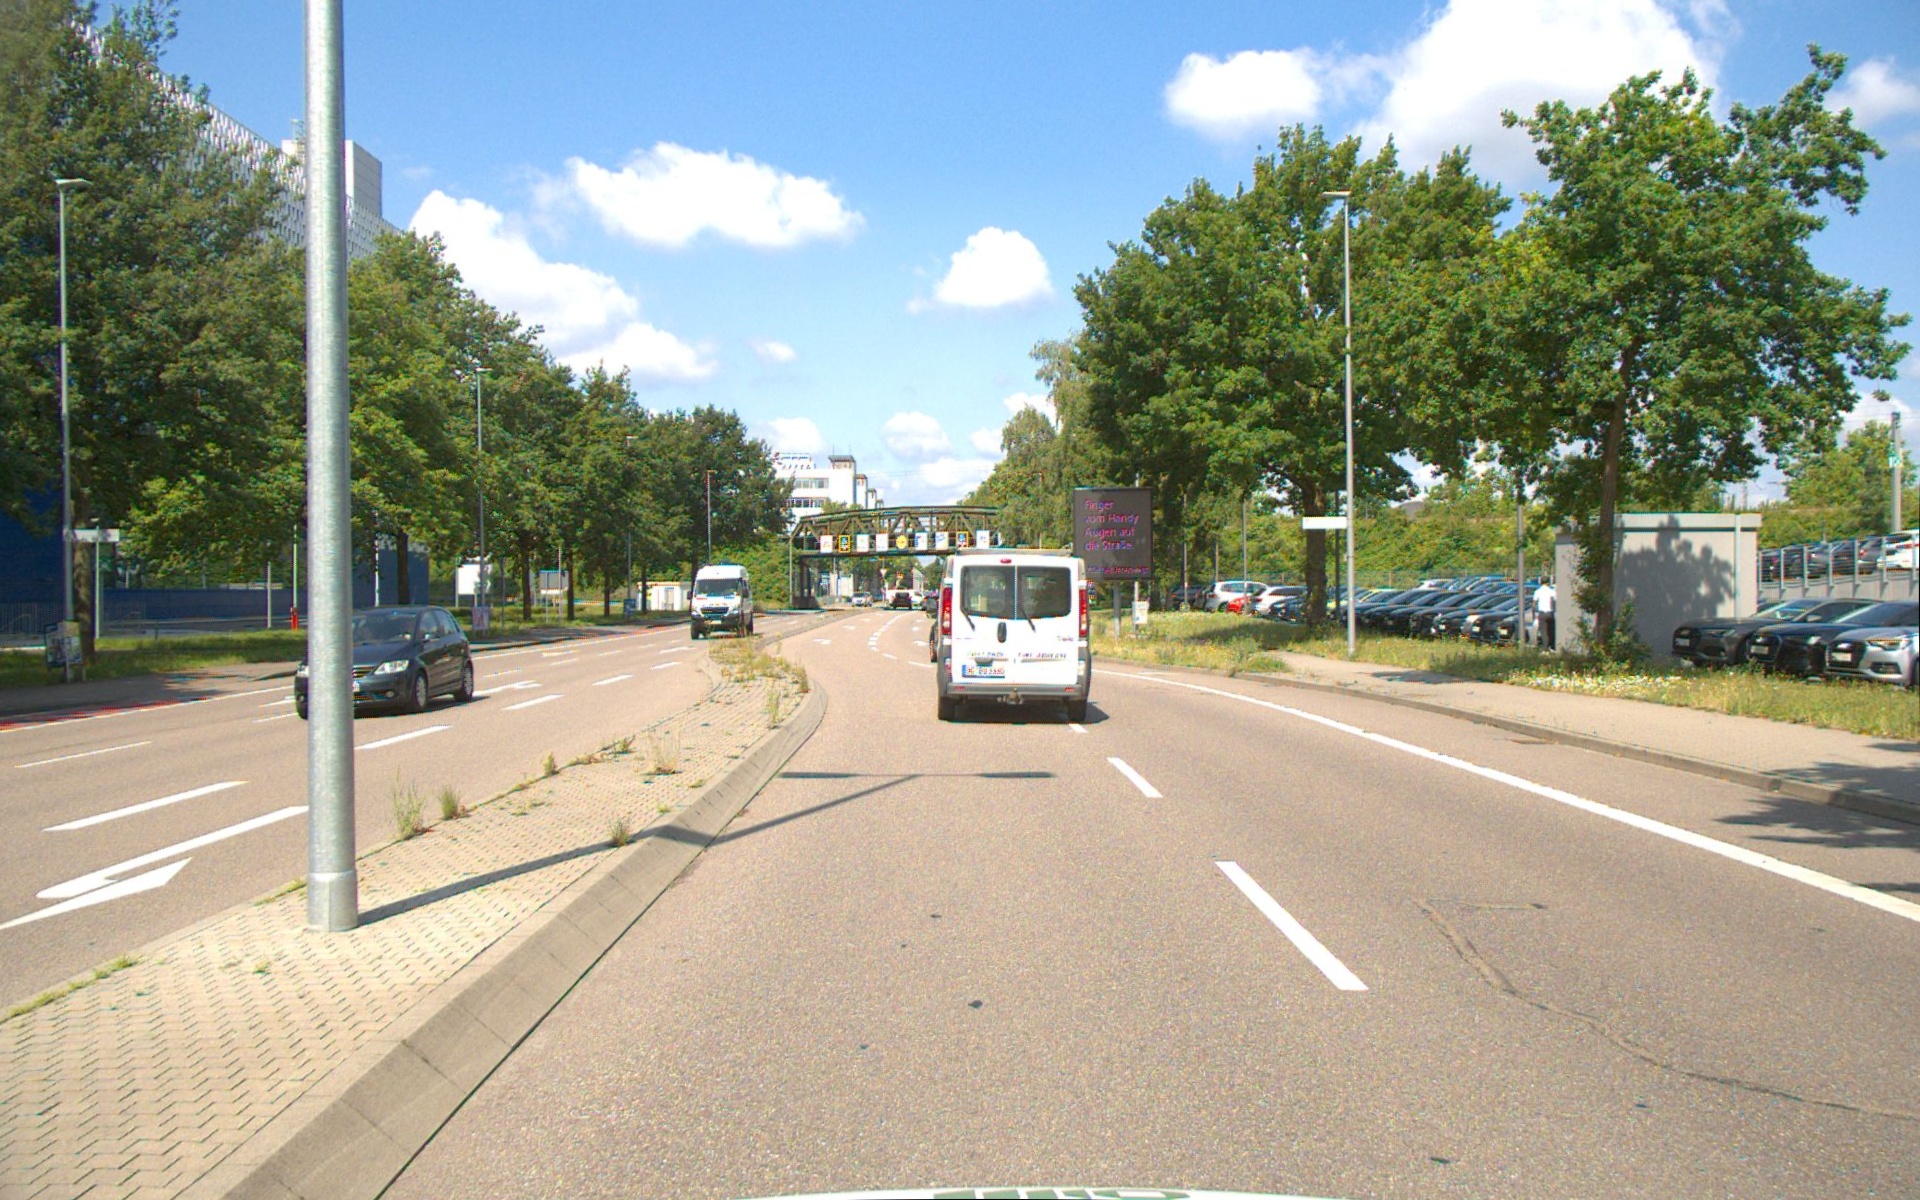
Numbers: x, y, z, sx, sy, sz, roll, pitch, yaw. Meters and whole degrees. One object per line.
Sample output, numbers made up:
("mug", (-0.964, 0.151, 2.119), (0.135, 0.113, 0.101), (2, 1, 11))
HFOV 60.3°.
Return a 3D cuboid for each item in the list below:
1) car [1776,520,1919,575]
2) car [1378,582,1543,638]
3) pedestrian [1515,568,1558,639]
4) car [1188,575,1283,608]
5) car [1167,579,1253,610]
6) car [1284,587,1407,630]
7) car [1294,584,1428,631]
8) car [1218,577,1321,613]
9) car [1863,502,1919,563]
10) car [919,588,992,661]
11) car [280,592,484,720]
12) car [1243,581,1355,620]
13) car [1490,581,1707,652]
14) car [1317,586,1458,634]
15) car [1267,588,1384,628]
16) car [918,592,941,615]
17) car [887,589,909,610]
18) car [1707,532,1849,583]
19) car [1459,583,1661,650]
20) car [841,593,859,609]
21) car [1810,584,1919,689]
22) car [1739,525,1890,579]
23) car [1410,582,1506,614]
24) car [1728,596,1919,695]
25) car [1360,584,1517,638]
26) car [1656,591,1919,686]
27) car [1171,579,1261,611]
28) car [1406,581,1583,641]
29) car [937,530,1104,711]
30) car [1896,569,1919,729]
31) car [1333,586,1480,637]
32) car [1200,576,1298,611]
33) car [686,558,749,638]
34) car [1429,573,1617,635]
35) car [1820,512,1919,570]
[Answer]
("car", (30.021, -1.769, 55.549), (4.264, 1.805, 1.937), (1, 2, 2))
("car", (14.685, 0.278, 48.679), (4.267, 1.539, 1.935), (0, 2, -2))
("pedestrian", (12.308, 0.065, 35.324), (0.620, 1.484, 0.772), (0, 2, -2))
("car", (13.382, -0.413, 80.525), (4.267, 1.539, 1.935), (0, 2, -2))
("car", (13.350, -0.292, 88.604), (4.267, 1.539, 1.935), (0, 2, -2))
("car", (14.869, 0.325, 63.935), (4.267, 1.539, 1.935), (0, 2, -2))
("car", (14.245, 0.256, 58.871), (4.267, 1.539, 1.935), (0, 2, -2))
("car", (14.075, -0.242, 75.391), (4.267, 1.539, 1.935), (0, 2, -2))
("car", (30.137, -2.028, 50.297), (4.264, 1.805, 1.937), (1, 2, 2))
("car", (-0.162, 0.557, 41.375), (1.738, 1.657, 3.999), (0, 1, -2))
("car", (-8.670, 0.773, 25.183), (1.704, 1.637, 4.239), (-4, 1, -3))
("car", (14.217, 0.011, 69.566), (4.267, 1.539, 1.935), (0, 2, -2))
("car", (14.771, 0.362, 38.421), (4.267, 1.539, 1.935), (0, 2, -2))
("car", (14.519, 0.336, 56.365), (4.267, 1.539, 1.935), (0, 2, -2))
("car", (14.751, 0.309, 66.958), (4.267, 1.539, 1.935), (0, 2, -2))
("car", (-2.742, 0.265, 149.852), (1.953, 2.049, 4.000), (-1, 0, 0))
("car", (-5.998, -0.049, 160.688), (1.952, 1.802, 4.001), (0, 2, 0))
("car", (30.106, -1.580, 60.960), (4.264, 1.805, 1.937), (1, 2, 2))
("car", (14.777, 0.393, 40.902), (4.267, 1.539, 1.935), (0, 2, -2))
("car", (-14.760, 0.154, 222.306), (1.952, 2.049, 4.001), (-1, 0, 1))
("car", (14.635, 0.486, 23.676), (4.023, 1.428, 1.818), (-1, 0, -1))
("car", (29.927, -1.691, 58.036), (4.264, 1.805, 1.937), (1, 2, 2))
("car", (25.012, -0.115, 83.101), (4.258, 1.525, 1.907), (-1, 0, -1))
("car", (14.543, 0.693, 26.072), (4.023, 1.470, 1.855), (0, 1, 0))
("car", (14.772, 0.326, 51.201), (4.267, 1.539, 1.935), (0, 2, -2))
("car", (14.647, 0.645, 28.791), (4.266, 1.539, 1.855), (-1, 0, 0))
("car", (13.110, -0.264, 84.773), (4.267, 1.539, 1.935), (0, 2, -2))
("car", (14.758, 0.290, 45.825), (4.267, 1.539, 1.935), (0, 2, -2))
("car", (0.673, 0.176, 21.463), (1.933, 2.095, 4.564), (0, 1, -1))
("car", (14.817, 0.679, 21.247), (4.482, 2.084, 1.907), (0, 2, -1))
("car", (14.513, 0.365, 53.911), (4.267, 1.539, 1.935), (0, 2, -2))
("car", (13.591, -0.303, 77.918), (4.267, 1.539, 1.935), (0, 2, -2))
("car", (-9.371, -0.103, 64.361), (1.983, 2.944, 6.376), (-1, 0, -5))
("car", (14.716, 0.090, 43.386), (4.267, 1.539, 1.935), (0, 2, -2))
("car", (30.159, -1.866, 52.870), (4.264, 1.805, 1.937), (1, 2, 2))
